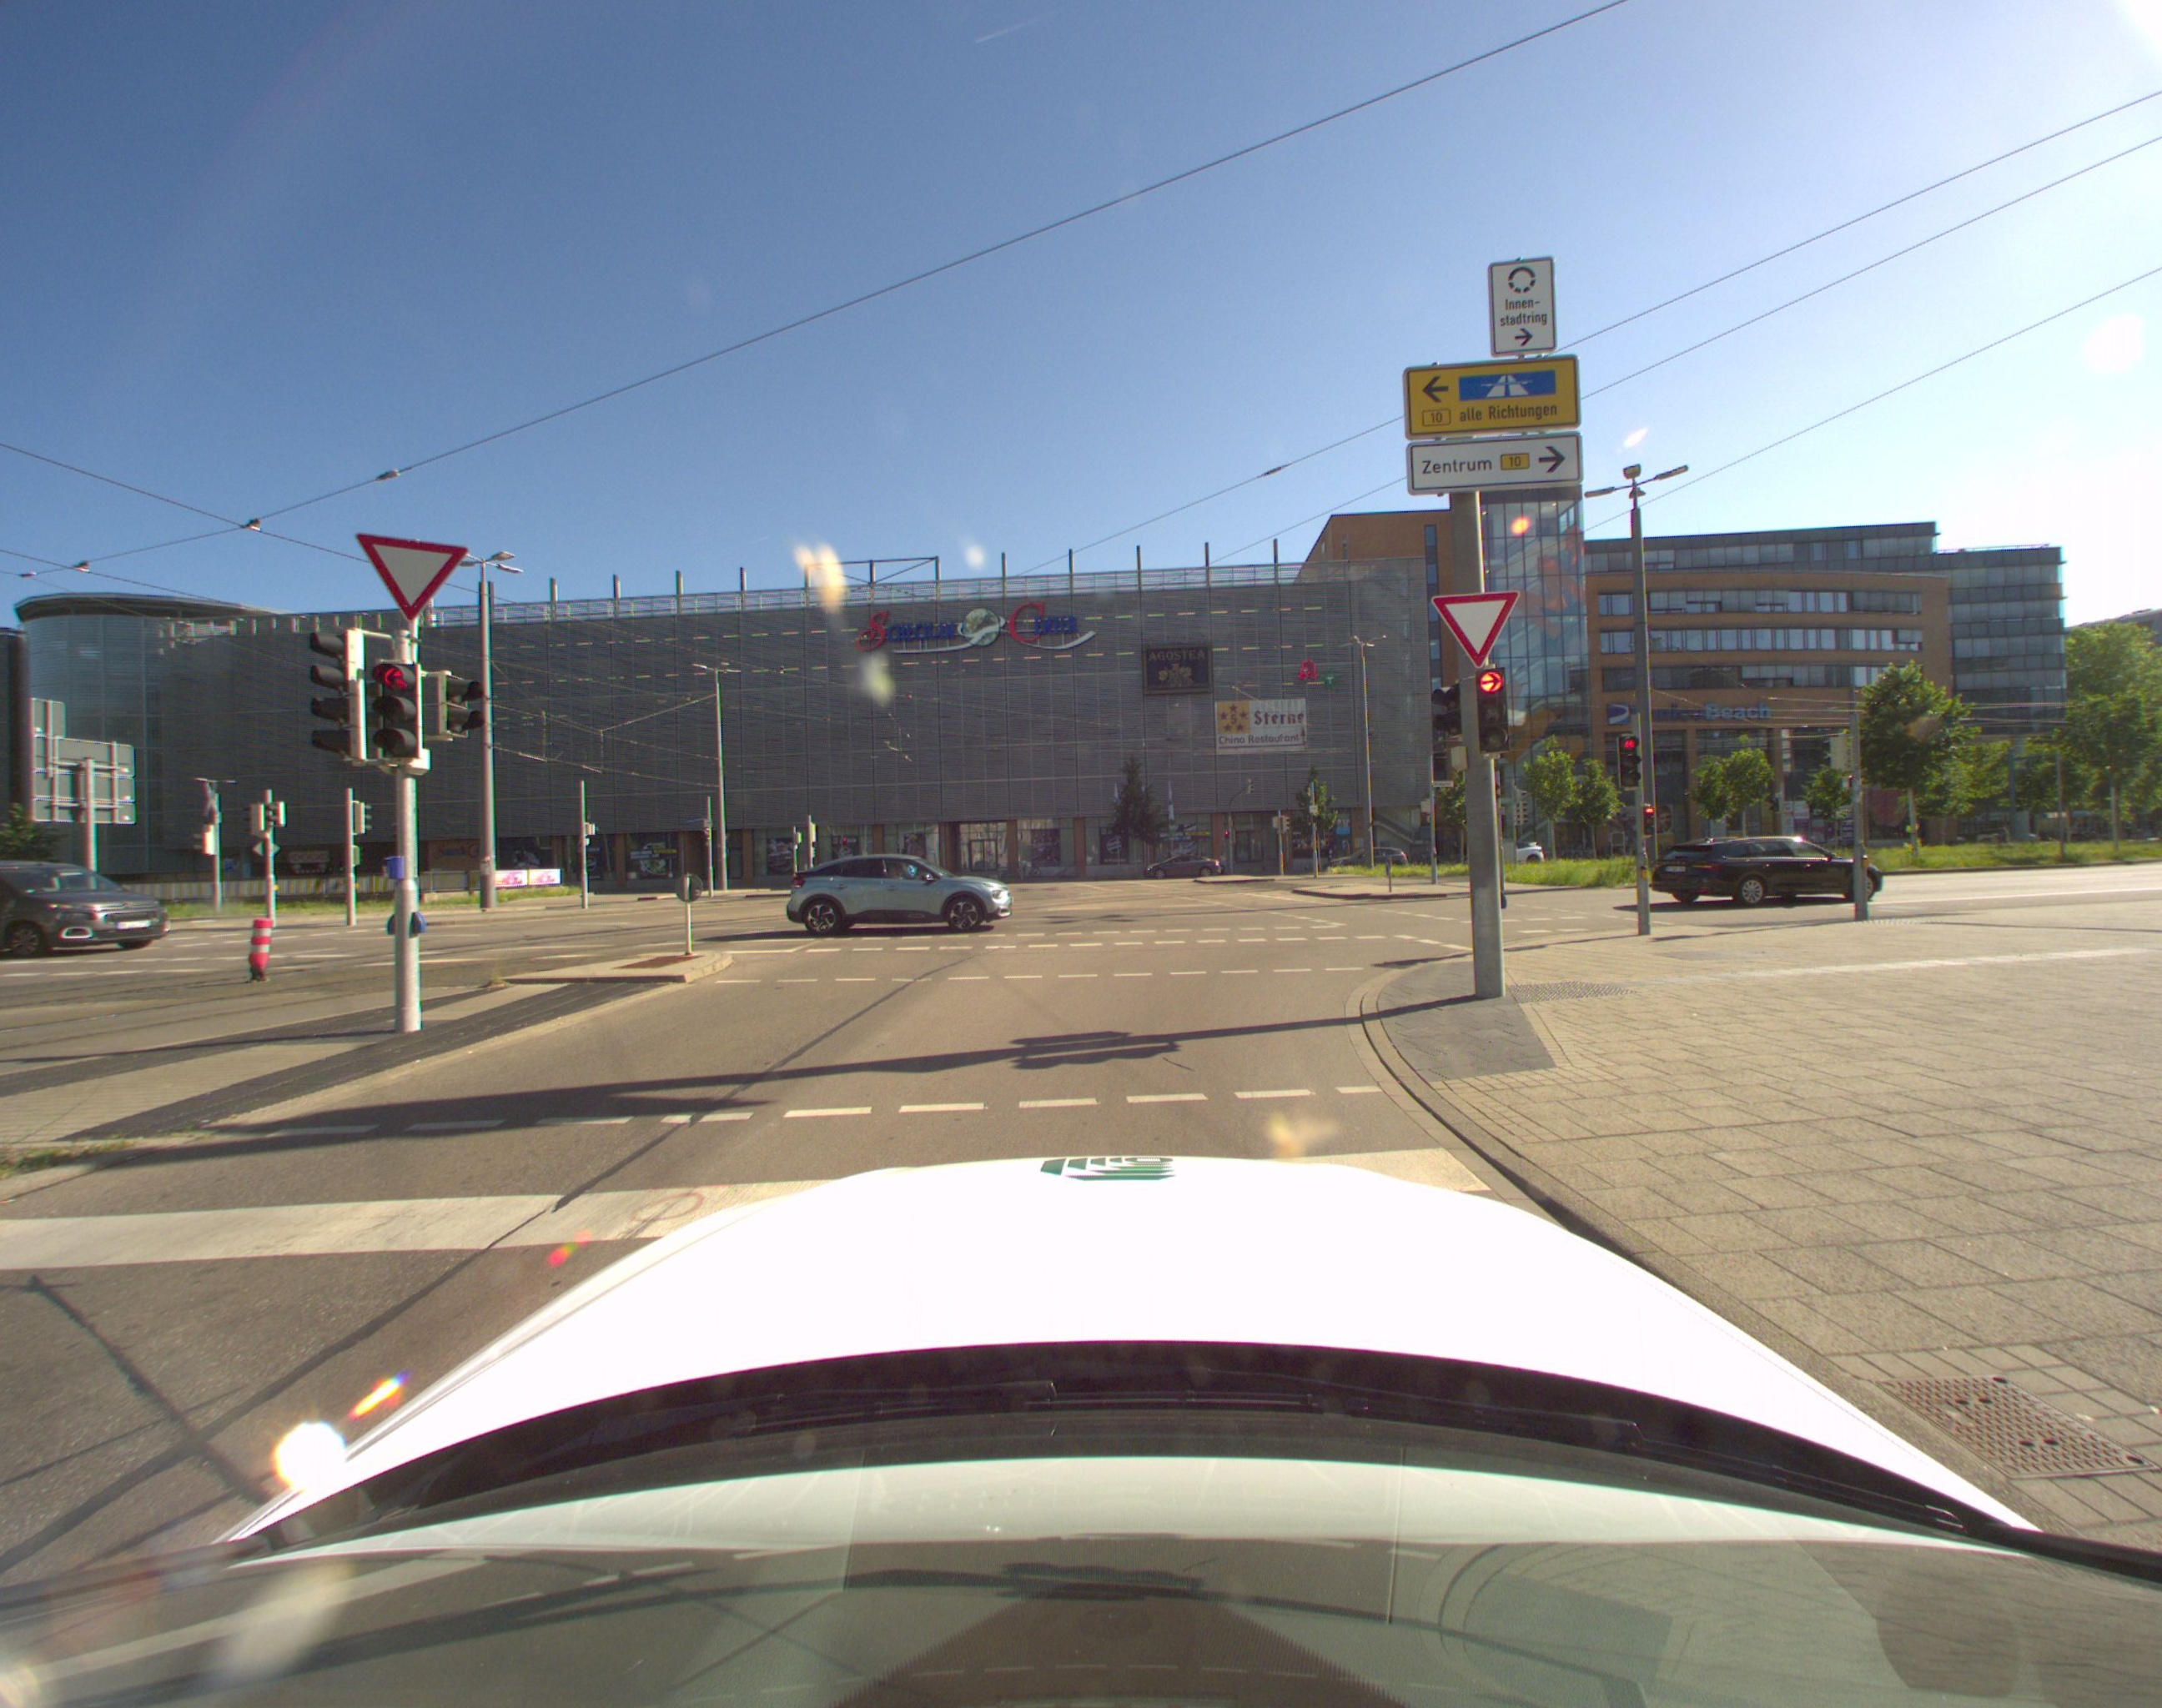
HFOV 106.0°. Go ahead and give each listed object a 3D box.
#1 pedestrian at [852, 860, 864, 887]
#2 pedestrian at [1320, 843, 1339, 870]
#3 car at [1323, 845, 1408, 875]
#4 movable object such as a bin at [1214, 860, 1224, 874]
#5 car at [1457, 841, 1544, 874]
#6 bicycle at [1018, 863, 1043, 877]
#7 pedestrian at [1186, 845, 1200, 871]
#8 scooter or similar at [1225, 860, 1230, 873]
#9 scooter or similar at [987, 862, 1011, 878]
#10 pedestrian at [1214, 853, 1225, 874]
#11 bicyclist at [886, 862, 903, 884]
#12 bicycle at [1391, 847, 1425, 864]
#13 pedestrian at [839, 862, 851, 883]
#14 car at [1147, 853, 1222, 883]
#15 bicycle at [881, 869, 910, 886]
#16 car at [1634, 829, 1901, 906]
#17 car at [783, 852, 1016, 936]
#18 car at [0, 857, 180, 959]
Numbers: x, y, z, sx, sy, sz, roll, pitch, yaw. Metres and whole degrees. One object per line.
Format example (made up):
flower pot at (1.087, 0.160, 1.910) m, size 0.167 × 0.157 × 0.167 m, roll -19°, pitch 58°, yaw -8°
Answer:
pedestrian at (-15.201, 1.309, 55.462) m, size 0.695 × 1.797 × 0.727 m, roll -3°, pitch 0°, yaw -14°
pedestrian at (17.812, 0.181, 58.321) m, size 1.007 × 1.828 × 1.037 m, roll -3°, pitch 0°, yaw 5°
car at (15.884, 0.345, 45.620) m, size 4.132 × 1.470 × 1.841 m, roll 2°, pitch -1°, yaw 0°
movable object such as a bin at (9.273, 0.878, 54.740) m, size 0.608 × 0.904 × 0.972 m, roll -1°, pitch -1°, yaw 12°
car at (25.252, 0.195, 49.104) m, size 4.318 × 1.863 × 1.838 m, roll -1°, pitch -1°, yaw -5°
bicycle at (-3.780, 1.171, 60.791) m, size 1.815 × 0.989 × 0.556 m, roll -2°, pitch 1°, yaw -8°
pedestrian at (8.195, 0.289, 59.562) m, size 0.945 × 1.829 × 0.847 m, roll -3°, pitch -4°, yaw 7°
scooter or similar at (9.922, 0.865, 55.008) m, size 0.293 × 0.873 × 1.007 m, roll -1°, pitch -1°, yaw 12°
scooter or similar at (-6.182, 1.201, 61.232) m, size 1.790 × 1.066 × 0.611 m, roll -2°, pitch 1°, yaw -6°
pedestrian at (9.406, 0.627, 55.203) m, size 0.650 × 1.414 × 0.853 m, roll -1°, pitch -1°, yaw 12°
bicyclist at (-12.627, 1.273, 55.238) m, size 0.667 × 1.427 × 0.855 m, roll -1°, pitch 2°, yaw 45°
bicycle at (24.344, 0.106, 60.619) m, size 2.247 × 1.296 × 0.606 m, roll 0°, pitch -1°, yaw 0°
pedestrian at (-18.101, 1.424, 62.451) m, size 0.654 × 1.601 × 0.597 m, roll -1°, pitch -1°, yaw 20°
car at (6.150, 0.841, 48.879) m, size 4.274 × 1.584 × 1.841 m, roll 2°, pitch -1°, yaw 1°
bicycle at (-12.584, 1.583, 55.311) m, size 0.562 × 1.086 × 1.874 m, roll -1°, pitch 2°, yaw 45°
car at (15.070, 0.267, 17.996) m, size 4.664 × 1.462 × 1.829 m, roll -2°, pitch 0°, yaw -7°
car at (-3.463, 0.741, 16.154) m, size 4.255 × 1.514 × 1.707 m, roll -1°, pitch 0°, yaw -4°
car at (-20.248, 1.010, 15.410) m, size 4.443 × 1.791 × 1.709 m, roll -2°, pitch 0°, yaw 0°
